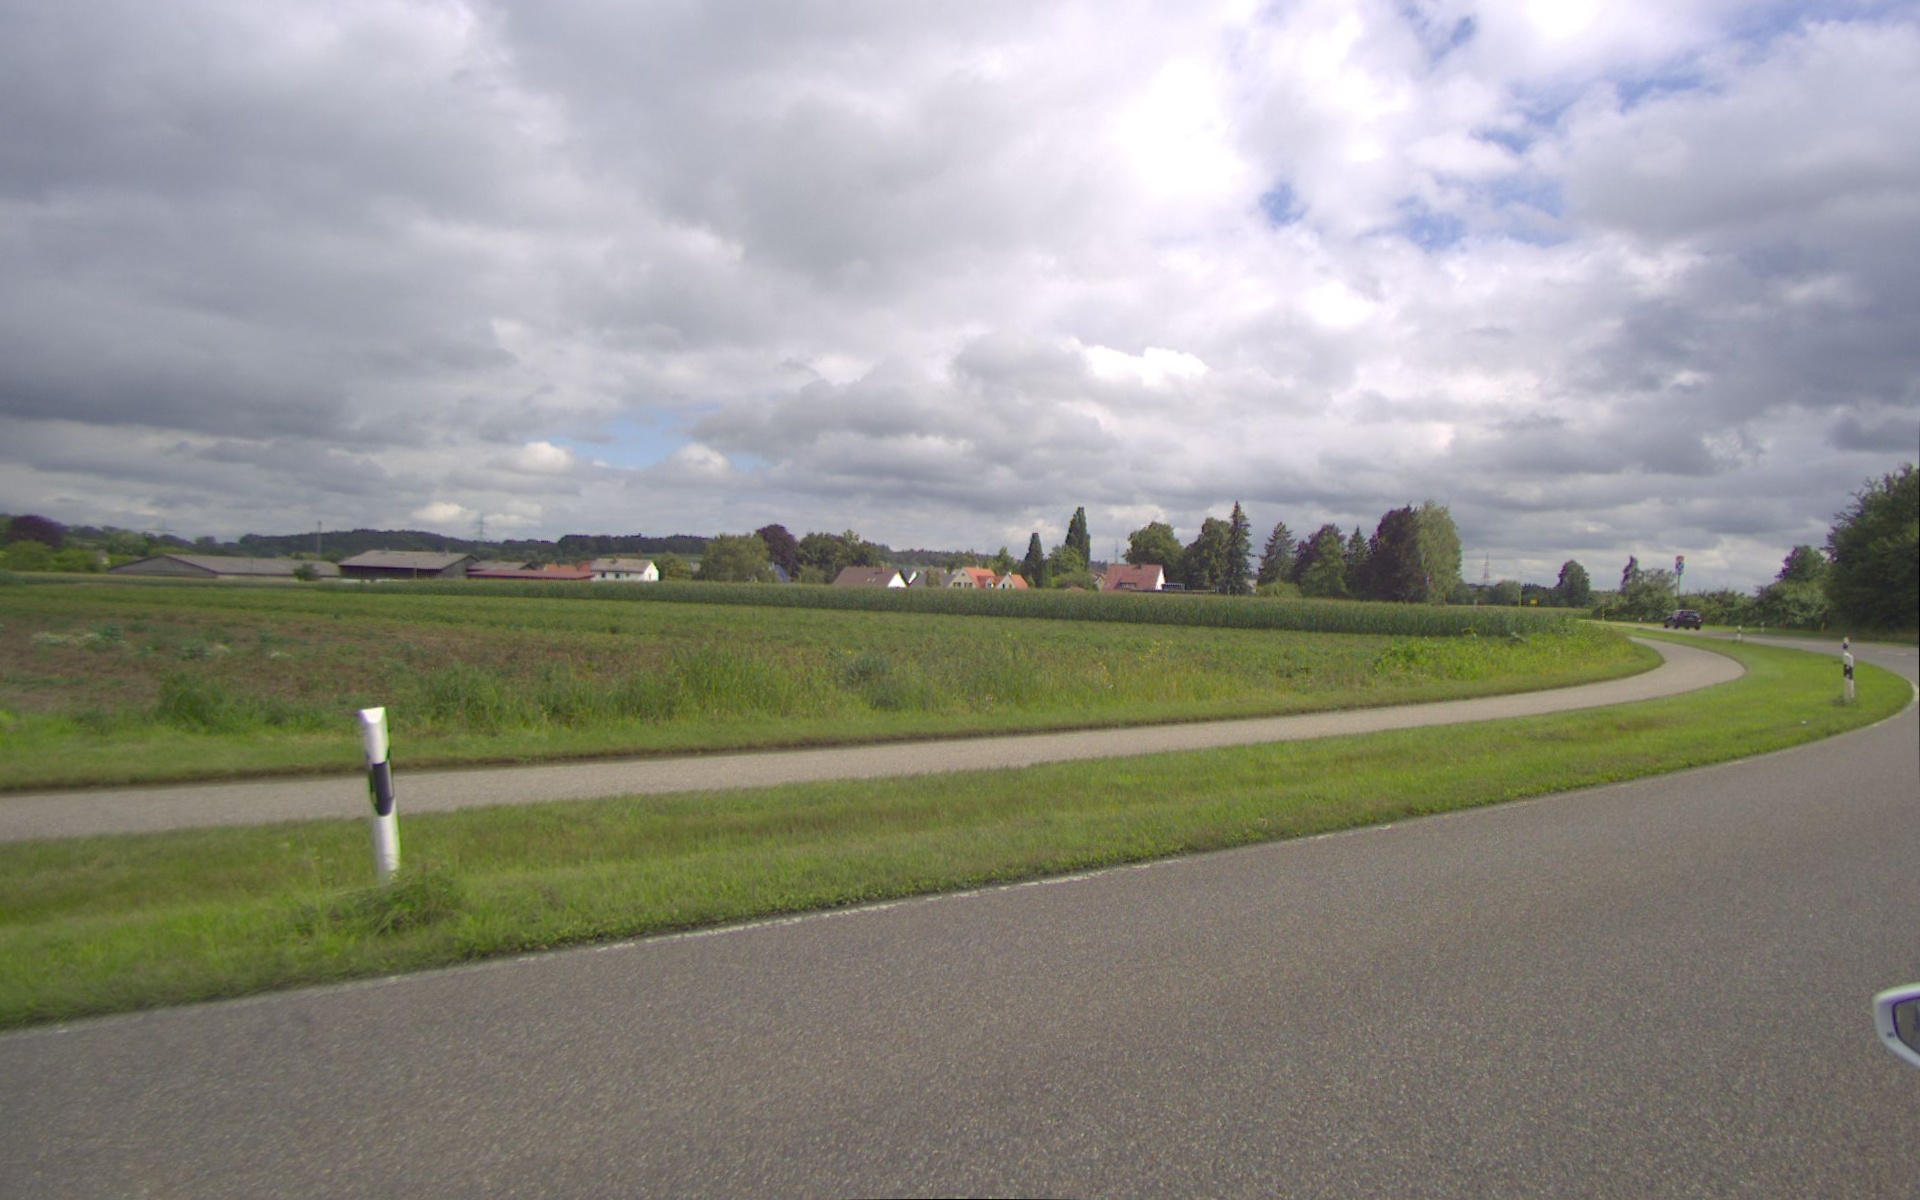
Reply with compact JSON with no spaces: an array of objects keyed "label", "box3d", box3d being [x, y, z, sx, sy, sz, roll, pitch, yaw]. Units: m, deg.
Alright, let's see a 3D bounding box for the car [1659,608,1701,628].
[{"label":"car","box3d":[62.566,1.560,87.342,1.875,1.688,4.000,1,0,19]}]
